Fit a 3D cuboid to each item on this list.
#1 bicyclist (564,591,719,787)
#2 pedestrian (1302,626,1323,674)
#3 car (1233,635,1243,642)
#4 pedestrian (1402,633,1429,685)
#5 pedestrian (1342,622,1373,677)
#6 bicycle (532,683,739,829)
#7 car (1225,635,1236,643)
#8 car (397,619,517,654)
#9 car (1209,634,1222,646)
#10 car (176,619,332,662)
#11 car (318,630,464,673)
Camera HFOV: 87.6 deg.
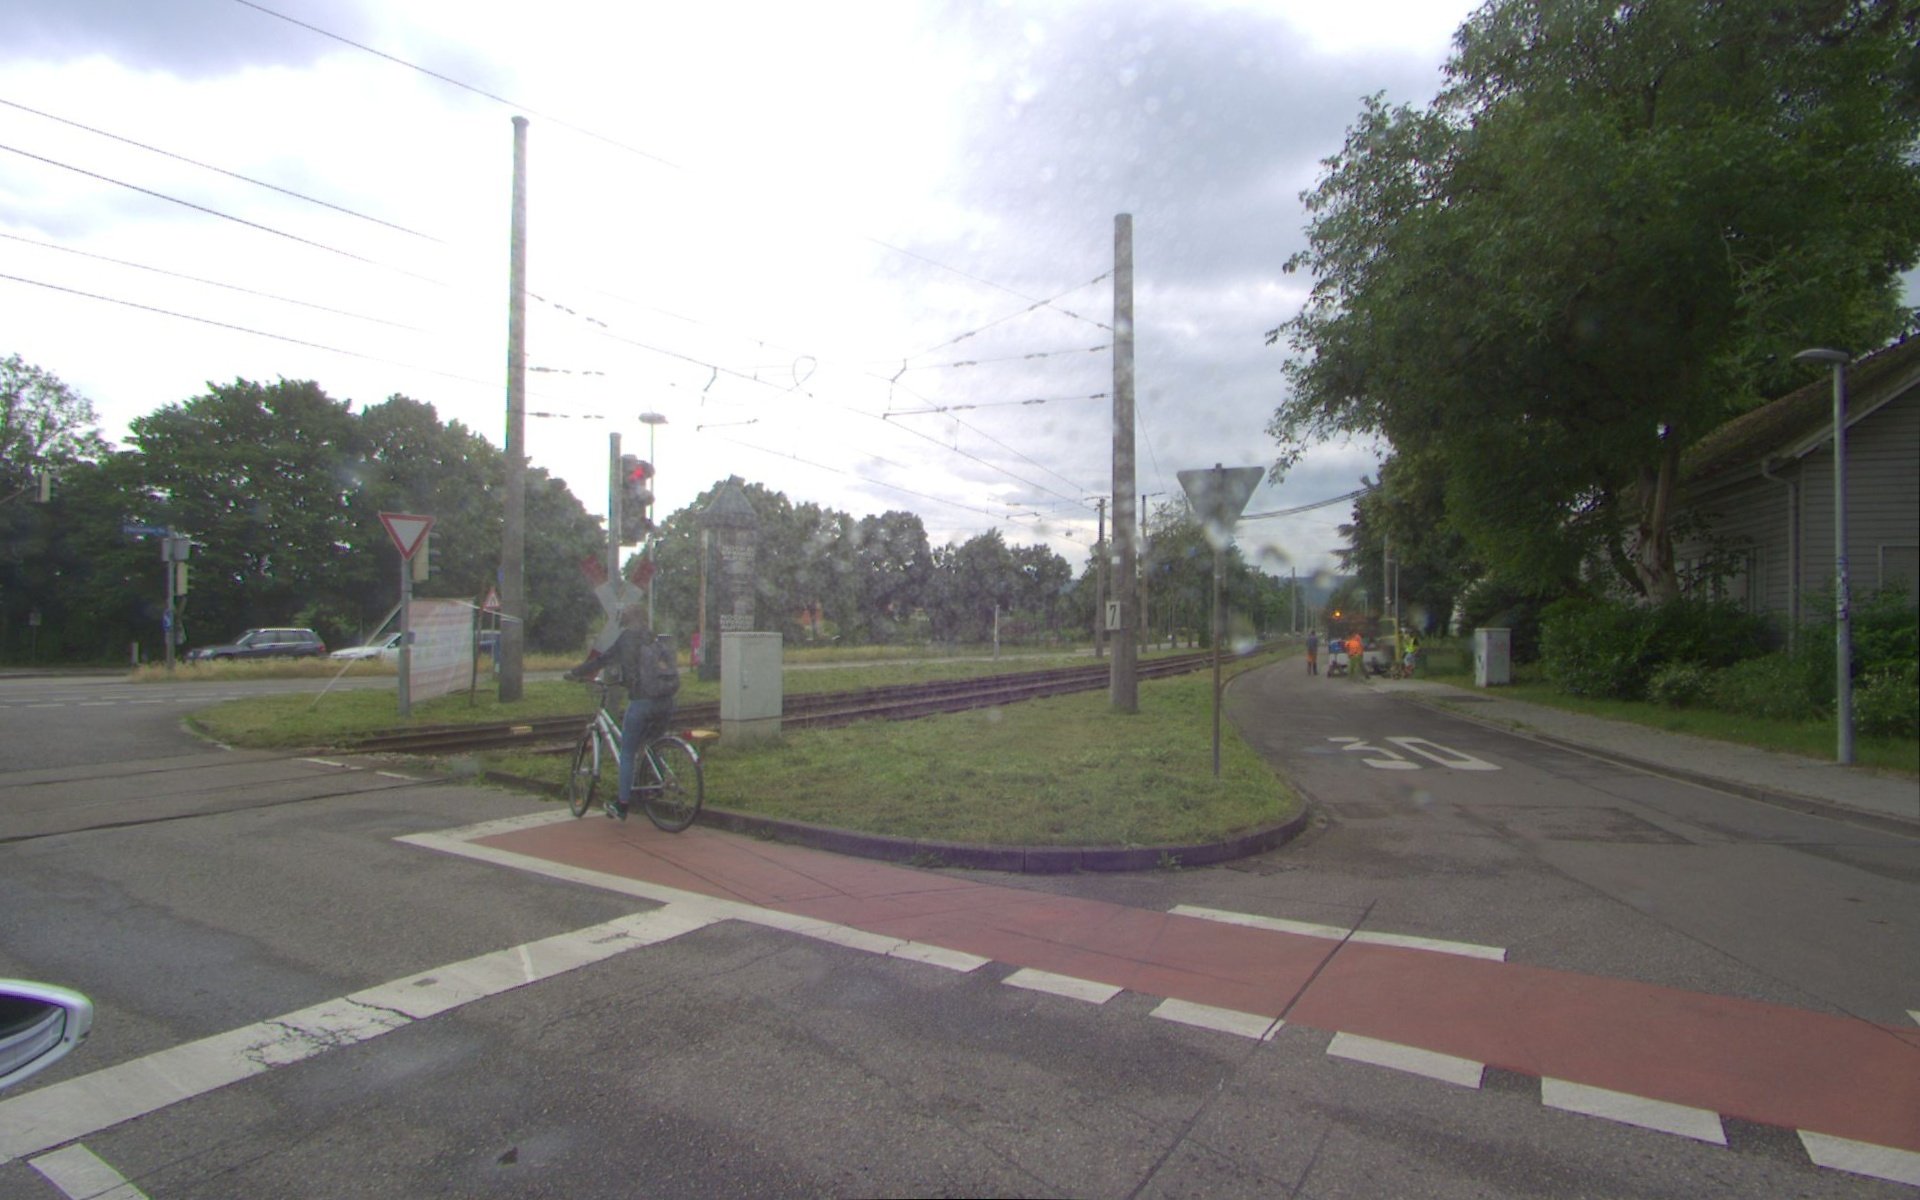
[{"bbox_3d":[-2.502,0.689,7.878,0.947,1.441,0.621,-1,-5,32],"label":"bicyclist"},{"bbox_3d":[14.129,1.995,40.136,0.757,1.892,0.604,0,-1,17],"label":"pedestrian"},{"bbox_3d":[59.640,8.325,214.604,1.963,1.460,3.997,-1,-2,16],"label":"car"},{"bbox_3d":[16.696,2.158,36.716,0.598,1.864,0.712,1,-1,-13],"label":"pedestrian"},{"bbox_3d":[13.799,1.720,34.787,0.862,1.878,0.676,1,-1,34],"label":"pedestrian"},{"bbox_3d":[-2.617,1.191,7.961,2.001,0.993,0.382,-1,-2,32],"label":"bicycle"},{"bbox_3d":[52.549,7.614,194.514,1.963,1.460,3.997,-1,-2,16],"label":"car"},{"bbox_3d":[-22.164,1.601,44.323,1.820,1.458,4.456,0,-2,33],"label":"car"},{"bbox_3d":[42.011,6.570,164.417,1.964,1.829,3.996,-1,-2,16],"label":"car"},{"bbox_3d":[-26.550,1.522,37.793,1.820,1.523,4.456,0,-2,33],"label":"car"},{"bbox_3d":[-19.678,1.764,34.801,1.624,1.374,4.129,0,-2,33],"label":"car"}]
